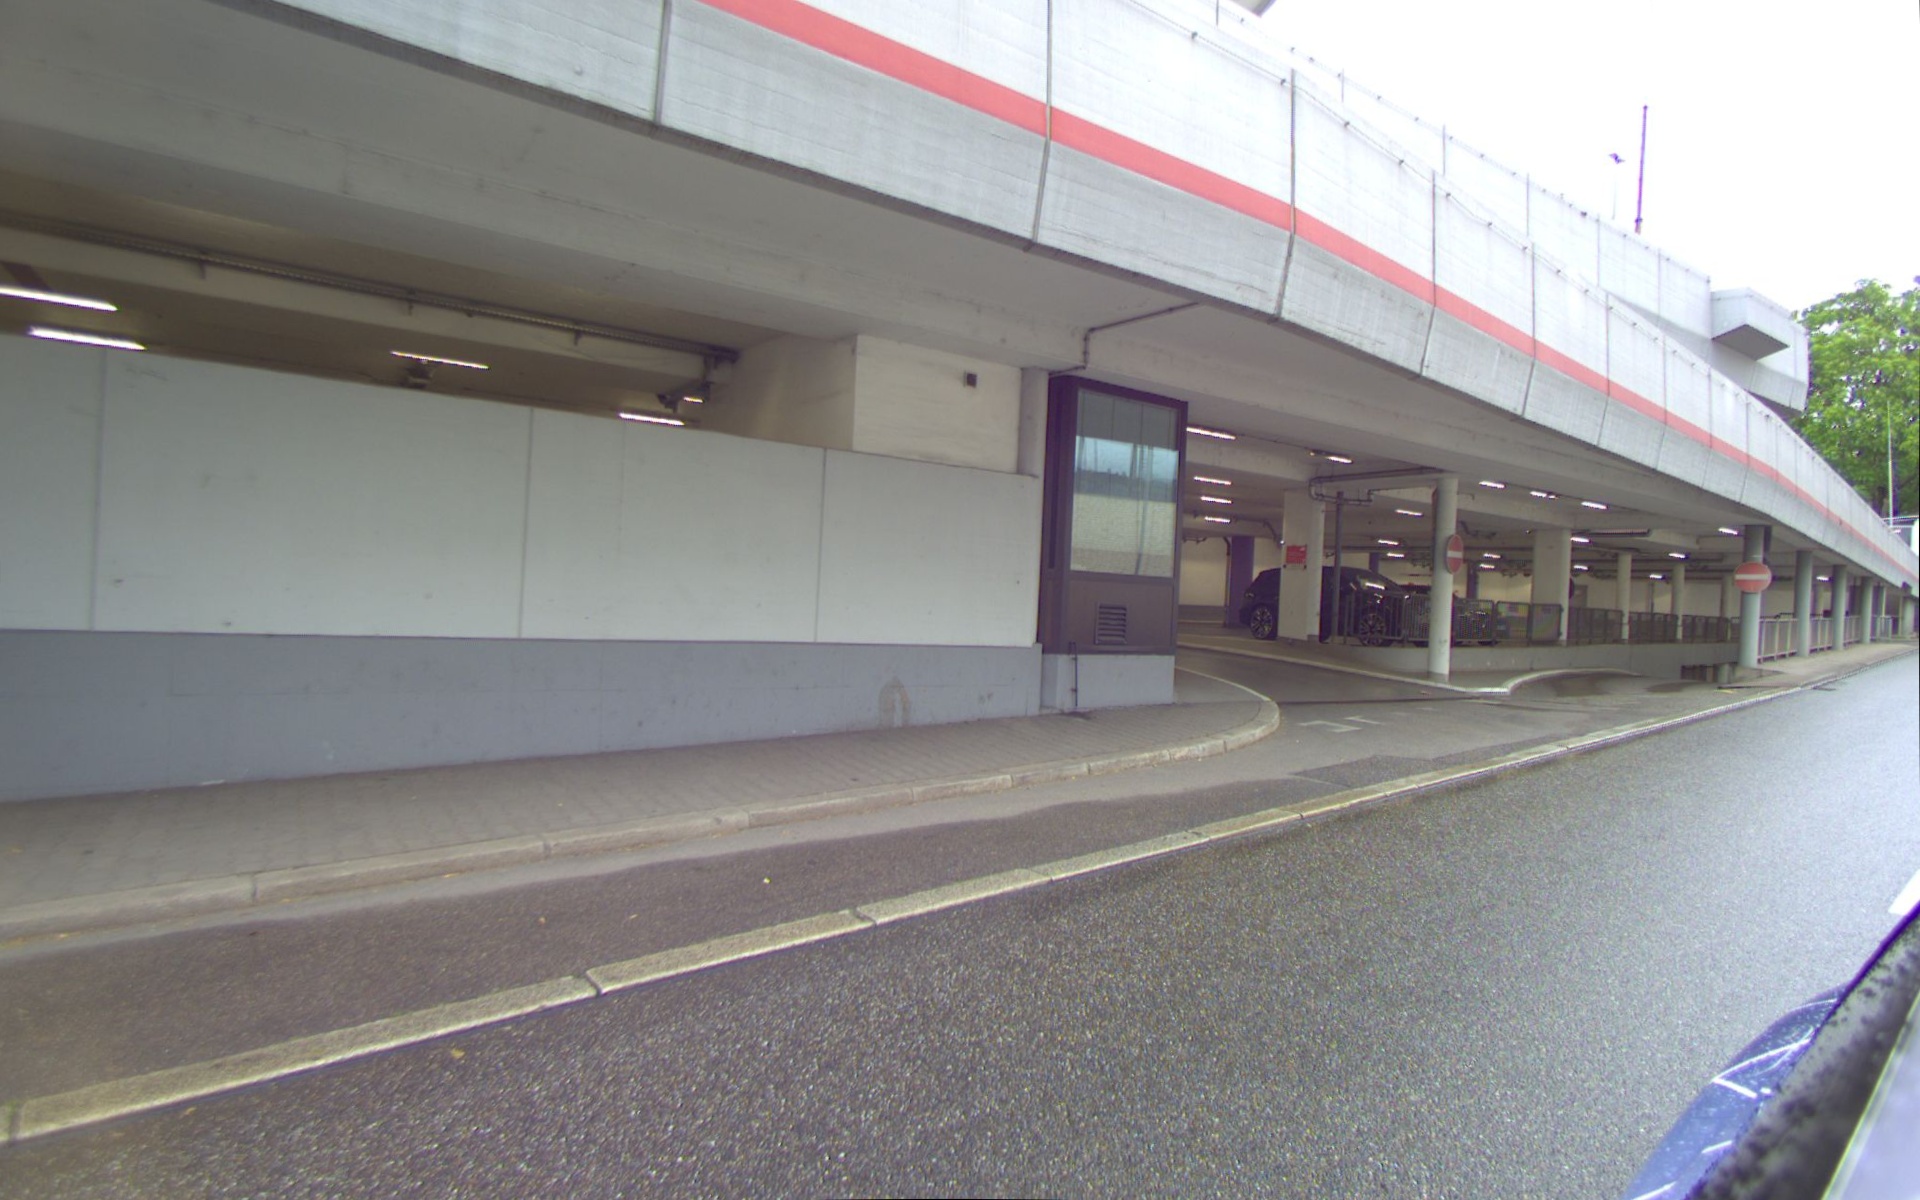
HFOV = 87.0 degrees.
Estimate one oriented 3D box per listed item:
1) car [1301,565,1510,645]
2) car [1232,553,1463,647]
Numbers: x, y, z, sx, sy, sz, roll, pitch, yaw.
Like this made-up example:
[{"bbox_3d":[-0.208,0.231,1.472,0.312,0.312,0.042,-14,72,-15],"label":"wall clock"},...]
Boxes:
[{"bbox_3d":[10.773,0.089,24.766,1.960,1.682,4.261,5,-2,-31],"label":"car"},{"bbox_3d":[8.174,-0.020,21.725,1.960,1.682,4.261,5,-2,-31],"label":"car"}]
